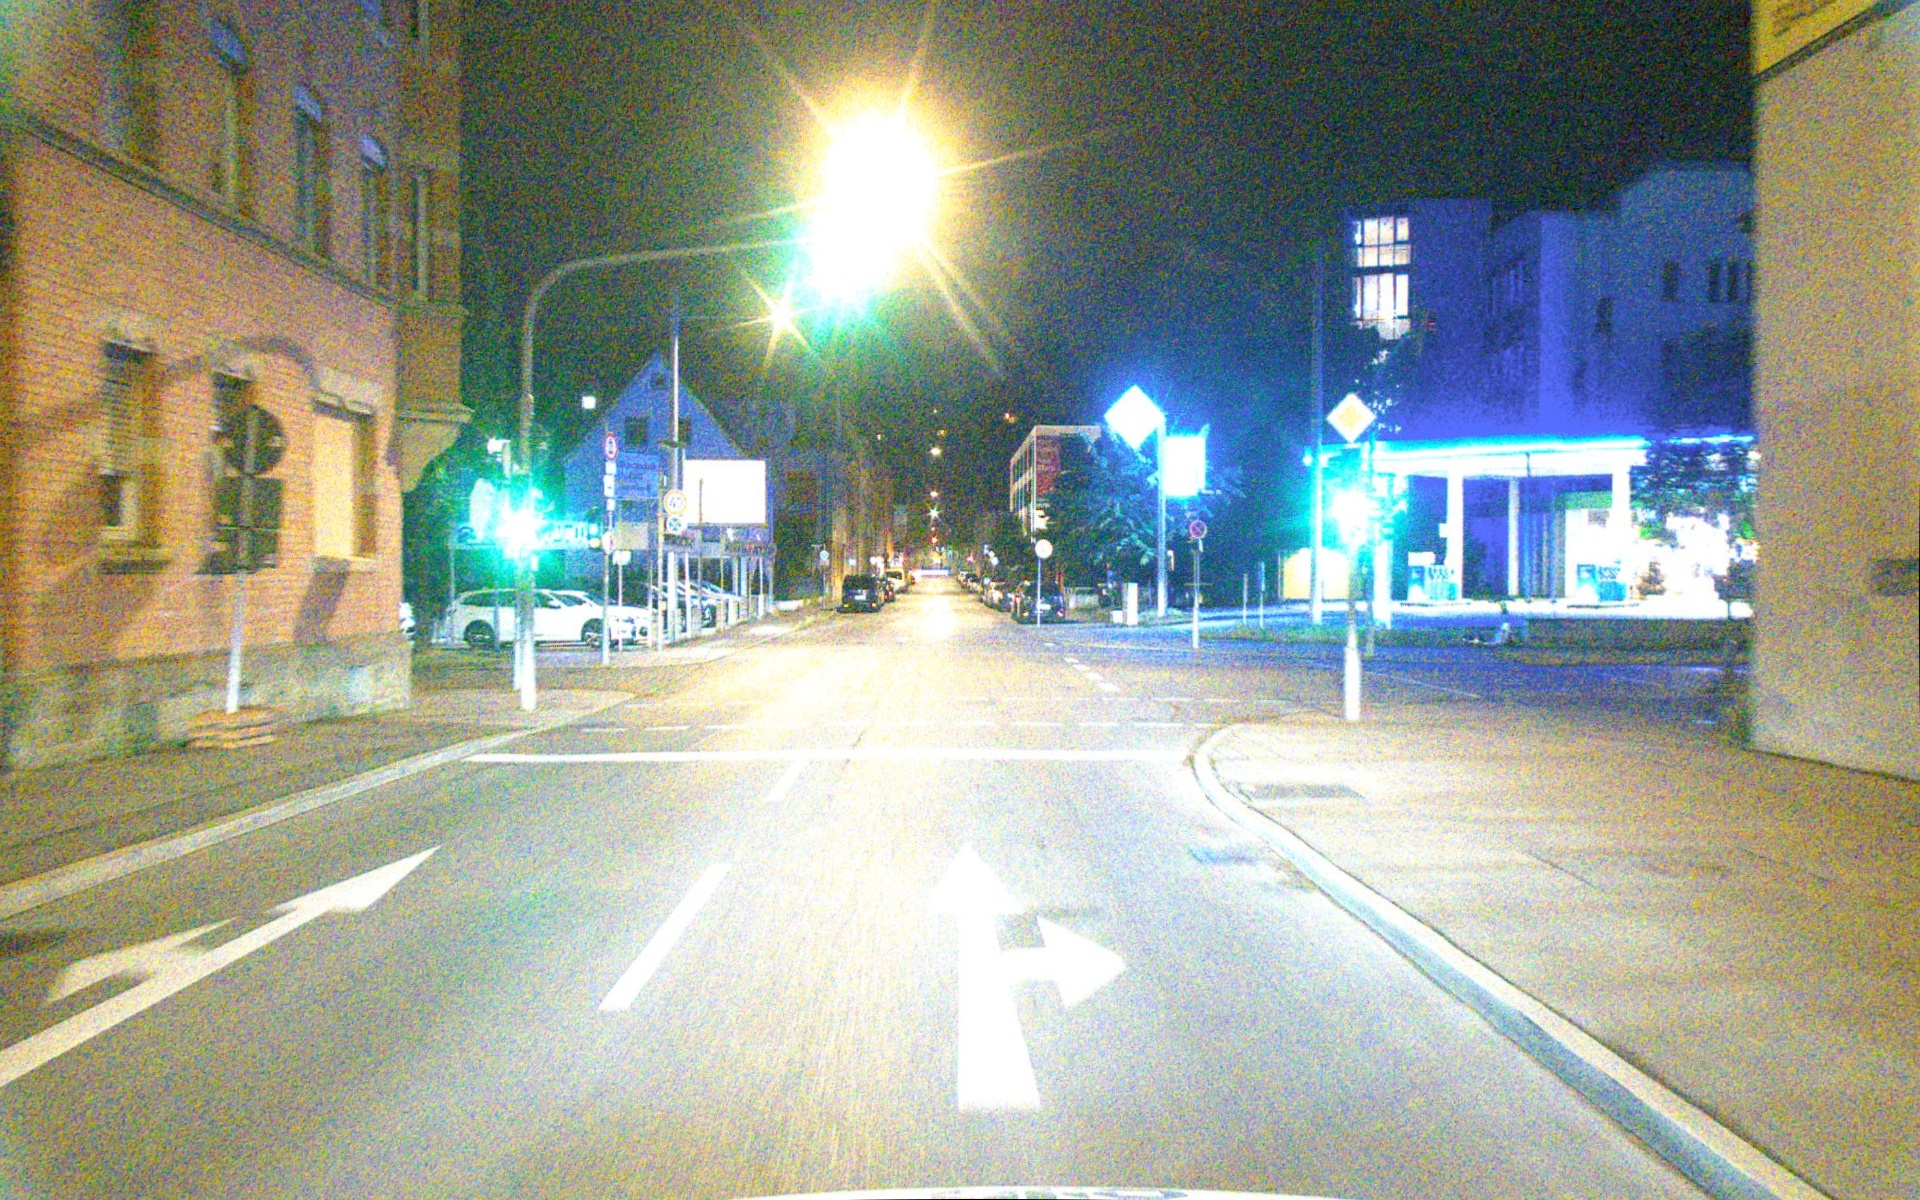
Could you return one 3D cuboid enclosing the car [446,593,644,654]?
[{"bbox_3d":[-10.120,0.563,40.596,4.349,1.475,1.999,0,0,-1],"label":"car"}]

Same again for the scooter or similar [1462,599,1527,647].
[{"bbox_3d":[13.004,0.545,40.241,1.664,1.111,0.707,-2,1,-39],"label":"scooter or similar"}]

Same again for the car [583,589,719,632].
[{"bbox_3d":[-10.640,0.362,57.160,4.349,1.475,1.999,0,0,-1],"label":"car"}]

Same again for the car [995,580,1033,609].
[{"bbox_3d":[2.891,-0.289,88.581,1.952,1.546,4.000,0,0,1],"label":"car"}]

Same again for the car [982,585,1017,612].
[{"bbox_3d":[2.279,-0.092,95.533,1.952,1.546,4.000,0,0,1],"label":"car"}]

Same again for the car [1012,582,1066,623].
[{"bbox_3d":[3.044,0.079,64.669,1.952,1.542,4.001,1,1,1],"label":"car"}]

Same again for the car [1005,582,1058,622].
[{"bbox_3d":[3.021,0.071,70.460,1.953,1.623,3.999,1,1,-2],"label":"car"}]

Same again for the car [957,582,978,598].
[{"bbox_3d":[0.759,-0.928,160.916,1.952,1.546,4.000,0,0,1],"label":"car"}]

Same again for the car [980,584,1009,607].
[{"bbox_3d":[2.349,-0.274,113.800,1.952,1.546,4.000,0,0,1],"label":"car"}]

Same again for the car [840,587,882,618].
[{"bbox_3d":[-4.954,0.138,83.157,1.953,1.528,3.999,0,0,-1],"label":"car"}]

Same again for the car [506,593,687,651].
[{"bbox_3d":[-9.530,0.562,43.630,4.349,1.475,1.999,0,0,-2],"label":"car"}]

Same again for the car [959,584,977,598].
[{"bbox_3d":[0.897,-0.959,184.245,1.952,1.546,4.000,0,0,1],"label":"car"}]

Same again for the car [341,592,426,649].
[{"bbox_3d":[-18.896,0.653,54.133,1.972,1.806,3.960,0,0,-30],"label":"car"}]

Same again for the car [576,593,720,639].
[{"bbox_3d":[-10.161,0.512,54.137,4.349,1.475,1.999,0,0,-1],"label":"car"}]
